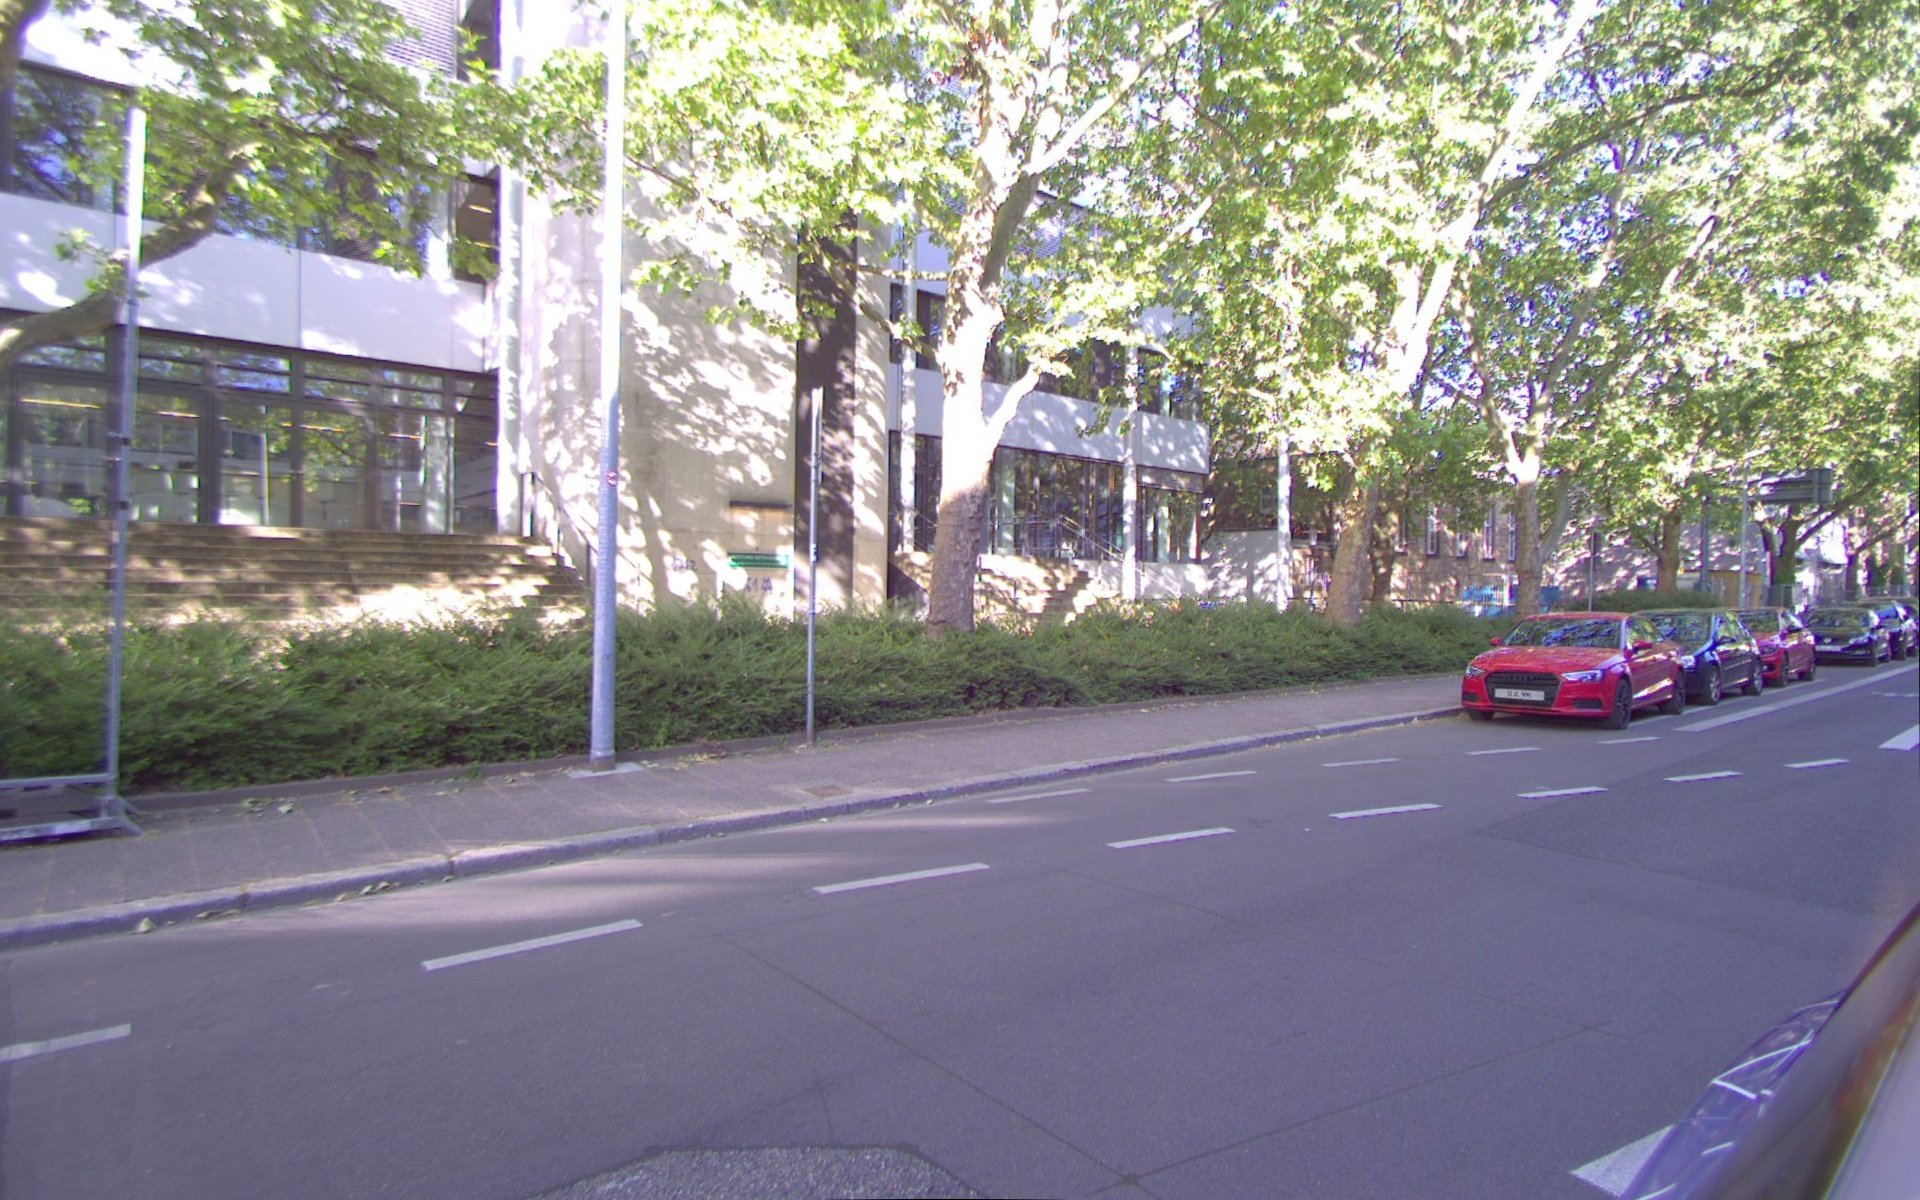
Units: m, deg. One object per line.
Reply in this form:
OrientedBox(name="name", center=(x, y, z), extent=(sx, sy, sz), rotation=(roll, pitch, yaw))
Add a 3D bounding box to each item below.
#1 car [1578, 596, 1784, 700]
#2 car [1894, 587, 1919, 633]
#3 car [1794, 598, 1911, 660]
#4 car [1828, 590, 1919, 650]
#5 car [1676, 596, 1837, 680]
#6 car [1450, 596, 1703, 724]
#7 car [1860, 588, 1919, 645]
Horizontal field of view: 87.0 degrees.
OrientedBox(name="car", center=(11.876, 0.685, 16.588), extent=(3.929, 1.475, 1.812), rotation=(0, 1, -40))
OrientedBox(name="car", center=(35.738, 0.365, 37.087), extent=(4.004, 1.638, 1.797), rotation=(0, 1, -41))
OrientedBox(name="car", center=(22.982, 0.682, 26.007), extent=(3.930, 1.456, 1.744), rotation=(0, 1, -41))
OrientedBox(name="car", center=(26.646, 0.527, 29.205), extent=(4.158, 1.601, 1.847), rotation=(0, 1, -41))
OrientedBox(name="car", center=(15.794, 0.673, 20.011), extent=(3.930, 1.456, 1.789), rotation=(0, 1, -41))
OrientedBox(name="car", center=(8.304, 0.680, 13.486), extent=(4.101, 1.443, 1.773), rotation=(0, -1, -42))
OrientedBox(name="car", center=(31.080, 0.484, 33.066), extent=(4.188, 1.747, 1.997), rotation=(-1, 0, -41))
